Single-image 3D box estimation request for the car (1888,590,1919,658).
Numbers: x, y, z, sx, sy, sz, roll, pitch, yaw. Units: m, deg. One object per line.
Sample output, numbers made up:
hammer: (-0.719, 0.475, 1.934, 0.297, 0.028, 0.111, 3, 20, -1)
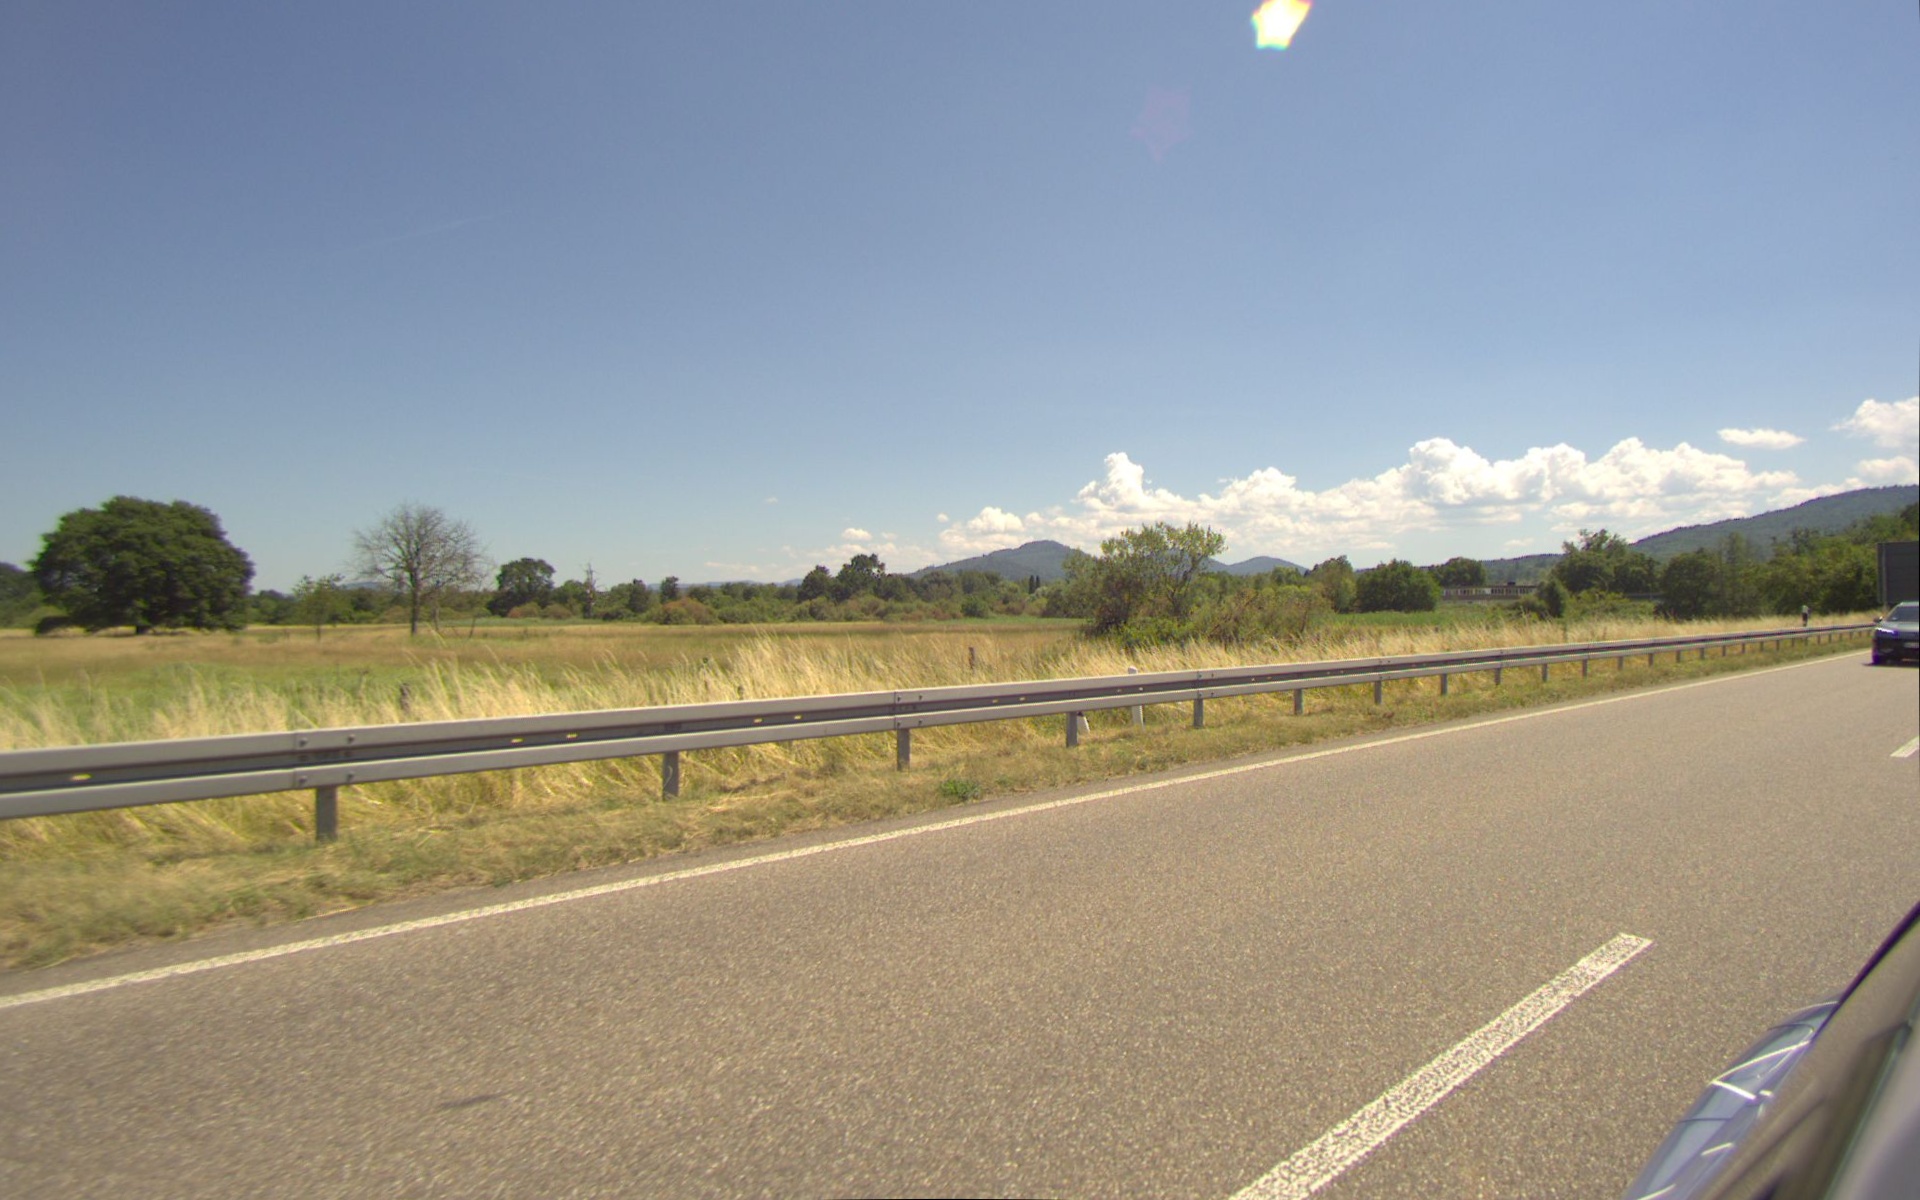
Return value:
car: (24.013, 0.580, 24.500, 3.948, 1.572, 1.789, 0, 1, -41)
